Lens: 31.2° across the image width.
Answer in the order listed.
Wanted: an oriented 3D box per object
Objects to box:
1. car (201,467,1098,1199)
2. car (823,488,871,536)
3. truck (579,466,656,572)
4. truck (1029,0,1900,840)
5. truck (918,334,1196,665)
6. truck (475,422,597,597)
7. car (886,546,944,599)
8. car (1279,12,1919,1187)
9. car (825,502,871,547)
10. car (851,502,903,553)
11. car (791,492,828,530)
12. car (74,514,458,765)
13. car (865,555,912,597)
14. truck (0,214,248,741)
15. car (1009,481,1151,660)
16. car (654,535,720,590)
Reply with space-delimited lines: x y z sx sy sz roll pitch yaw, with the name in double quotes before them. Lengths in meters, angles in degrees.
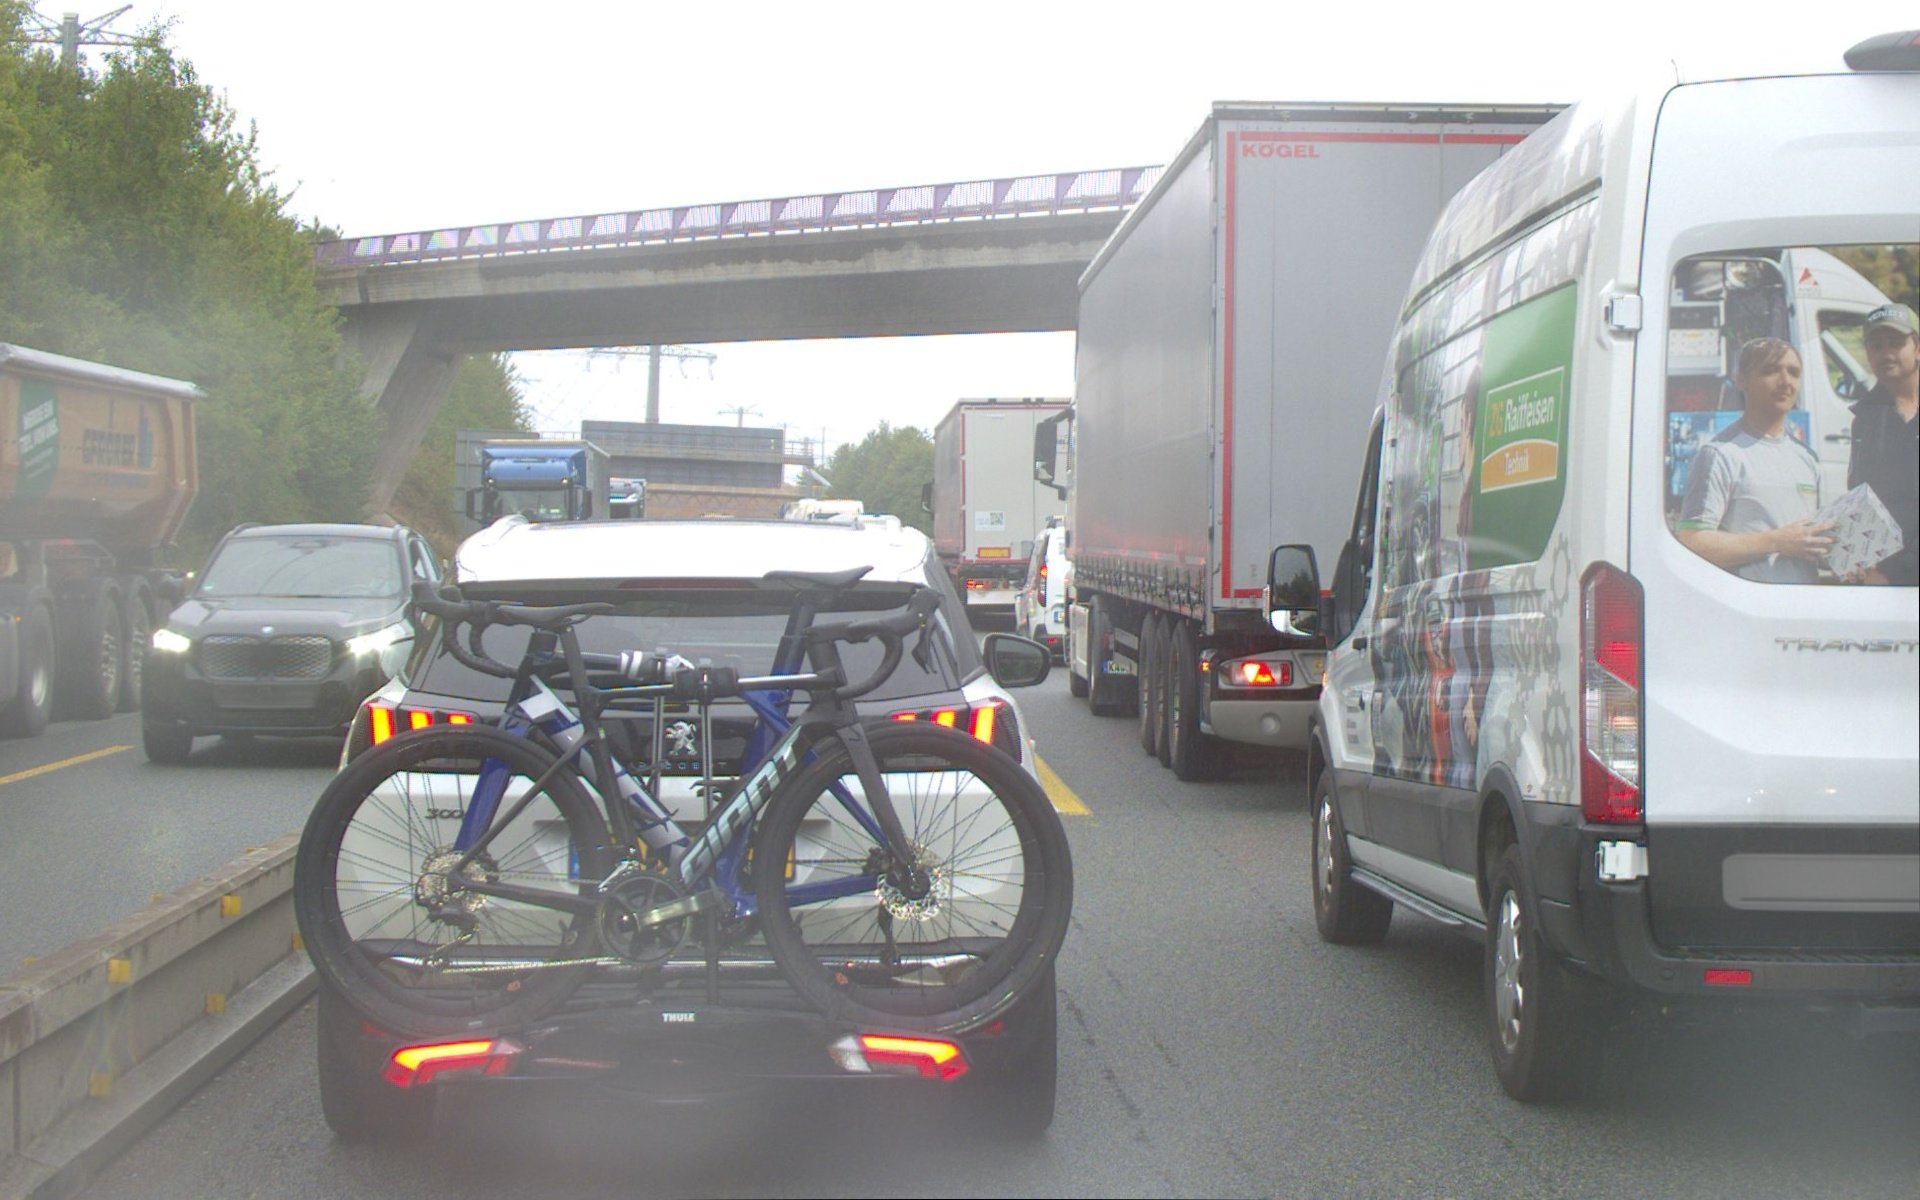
"car" -0.627 0.531 9.300 1.810 1.632 4.635 1 1 0
"car" -5.571 -4.331 169.772 2.239 2.299 4.572 1 1 -1
"truck" -13.845 -3.234 139.527 2.464 4.109 10.089 1 1 -2
"truck" 2.955 -1.645 28.868 3.979 5.654 20.377 1 1 -1
"truck" 1.695 -1.833 69.385 4.743 5.654 20.376 1 1 0
"truck" -10.900 -2.233 89.639 2.765 4.109 16.931 1 1 -6
"car" -1.303 -0.802 99.425 1.638 1.492 3.666 1 1 -1
"car" 2.422 -0.024 10.892 2.144 2.667 6.117 1 1 -1
"car" -5.109 -3.427 157.133 1.993 2.007 4.000 1 1 -1
"car" -3.370 -2.923 139.428 1.993 2.007 4.000 1 1 -3
"car" -8.628 -5.097 197.799 1.993 2.119 4.527 1 1 -1
"car" -4.789 0.233 24.292 1.935 1.602 4.120 1 1 -1
"car" -2.575 -0.884 124.236 1.638 1.492 3.666 1 1 -1
"truck" -8.023 -0.883 26.449 2.681 3.644 12.312 1 1 -1
"car" 1.510 -0.386 44.495 1.670 2.173 4.535 1 1 0
"car" -8.234 -1.144 103.860 1.783 1.604 4.104 1 1 -2
